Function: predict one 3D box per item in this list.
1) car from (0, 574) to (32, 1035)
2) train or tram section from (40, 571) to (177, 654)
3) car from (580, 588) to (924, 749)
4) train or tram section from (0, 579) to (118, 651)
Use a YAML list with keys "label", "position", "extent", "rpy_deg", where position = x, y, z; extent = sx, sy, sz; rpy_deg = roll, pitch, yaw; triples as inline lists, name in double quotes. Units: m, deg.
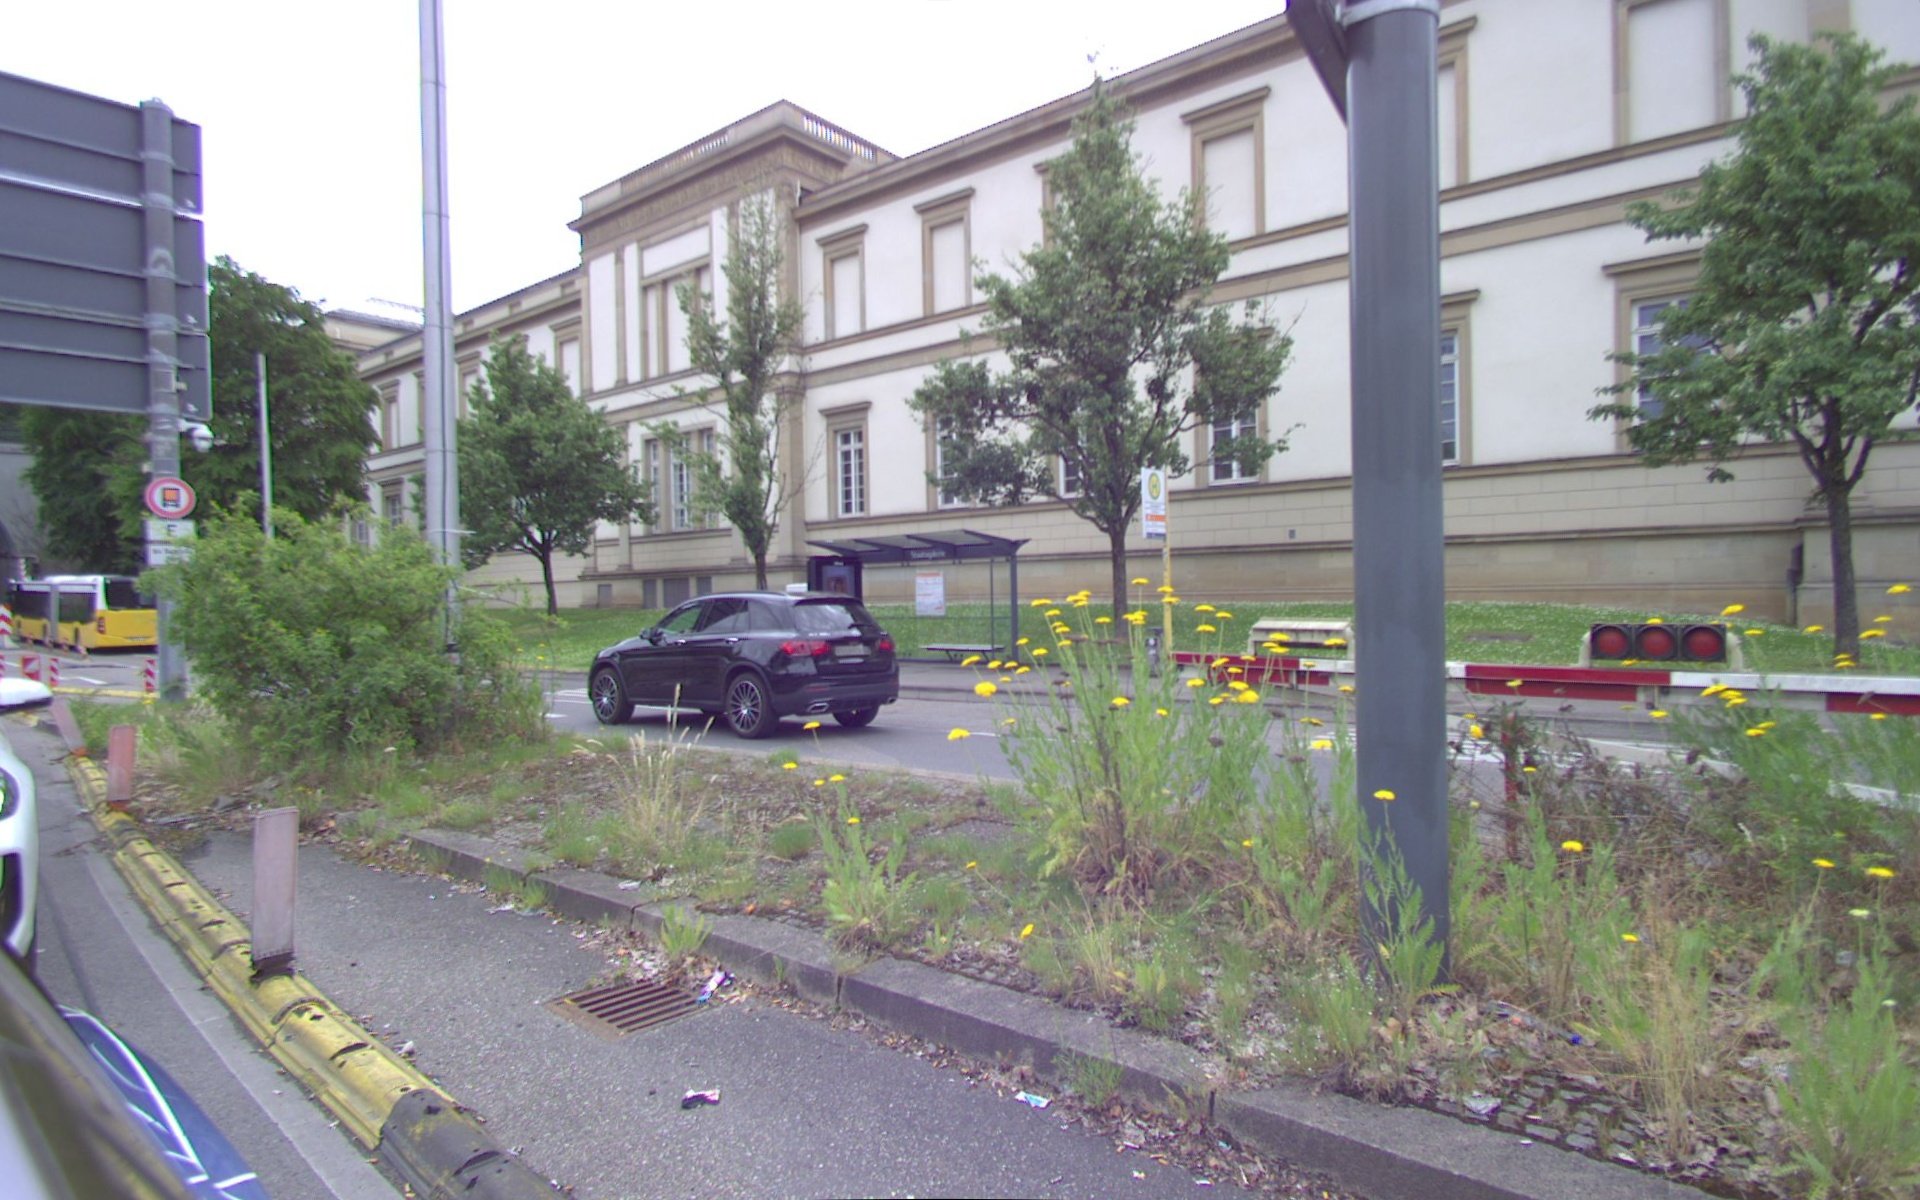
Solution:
- label: "car"
  position: [-5.228, 0.722, 4.199]
  extent: [3.911, 1.568, 1.733]
  rpy_deg: [-1, 0, 43]
- label: "train or tram section"
  position: [-35.359, 0.579, 41.876]
  extent: [9.326, 3.094, 2.667]
  rpy_deg: [-2, -2, 39]
- label: "car"
  position: [-2.684, 0.712, 12.449]
  extent: [4.368, 1.638, 1.861]
  rpy_deg: [-1, 0, 40]
- label: "train or tram section"
  position: [-42.655, 0.752, 47.685]
  extent: [9.363, 3.094, 2.668]
  rpy_deg: [-1, -2, 38]
